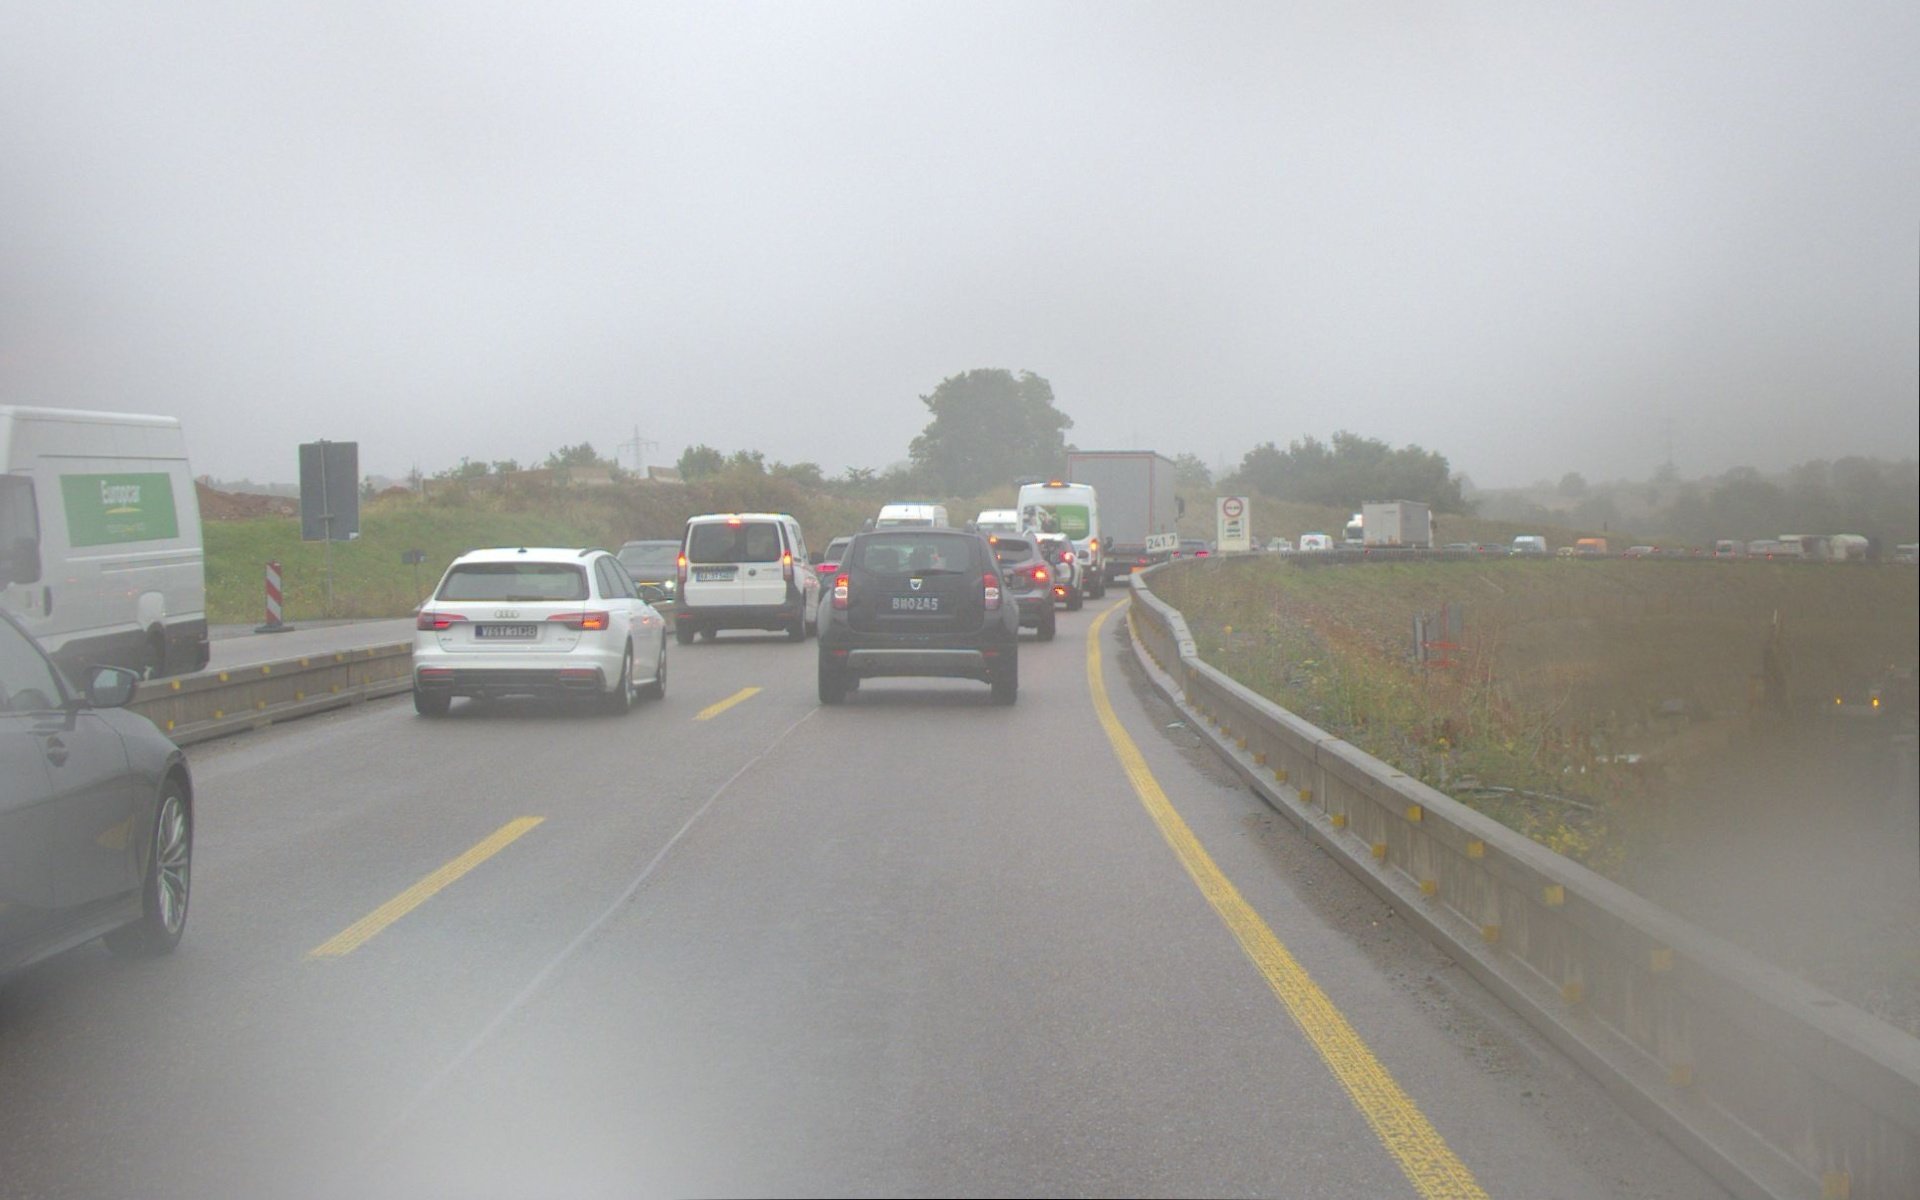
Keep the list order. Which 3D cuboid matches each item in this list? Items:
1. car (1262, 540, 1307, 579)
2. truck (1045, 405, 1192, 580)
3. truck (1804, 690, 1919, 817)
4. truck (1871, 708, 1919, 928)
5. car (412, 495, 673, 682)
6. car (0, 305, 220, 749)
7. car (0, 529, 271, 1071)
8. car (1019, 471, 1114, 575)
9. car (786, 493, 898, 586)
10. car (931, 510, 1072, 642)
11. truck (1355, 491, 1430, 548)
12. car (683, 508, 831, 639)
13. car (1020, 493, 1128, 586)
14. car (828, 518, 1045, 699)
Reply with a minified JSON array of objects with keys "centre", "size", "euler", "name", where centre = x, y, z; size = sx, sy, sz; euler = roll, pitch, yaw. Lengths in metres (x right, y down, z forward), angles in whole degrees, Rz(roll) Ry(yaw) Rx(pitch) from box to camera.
[{"centre":[19.267,-2.376,203.755],"size":[2.036,2.248,4.155],"euler":[1,0,14],"name":"car"},{"centre":[4.936,-3.148,104.947],"size":[3.545,5.060,10.438],"euler":[1,0,8],"name":"truck"},{"centre":[28.121,4.700,107.288],"size":[2.731,3.479,9.061],"euler":[1,0,9],"name":"truck"},{"centre":[17.159,3.681,55.525],"size":[2.699,3.491,8.947],"euler":[1,0,2],"name":"truck"},{"centre":[-3.549,-0.109,29.851],"size":[1.826,1.494,4.000],"euler":[1,0,-1],"name":"car"},{"centre":[-7.570,-0.568,26.923],"size":[1.993,3.035,7.172],"euler":[1,1,0],"name":"car"},{"centre":[-3.636,0.566,11.130],"size":[1.735,1.457,5.630],"euler":[0,3,-1],"name":"car"},{"centre":[2.615,-1.844,83.574],"size":[1.827,2.429,4.156],"euler":[1,0,8],"name":"car"},{"centre":[-2.347,-1.201,69.271],"size":[1.826,1.809,3.999],"euler":[1,0,4],"name":"car"},{"centre":[0.638,-0.349,49.784],"size":[1.826,1.809,4.000],"euler":[1,0,4],"name":"car"},{"centre":[28.524,-5.309,226.331],"size":[3.475,3.702,8.411],"euler":[0,1,17],"name":"truck"},{"centre":[-2.896,-0.384,49.764],"size":[1.826,1.809,4.000],"euler":[1,0,1],"name":"car"},{"centre":[2.323,-1.190,69.355],"size":[1.827,1.809,3.999],"euler":[1,0,7],"name":"car"},{"centre":[-0.162,0.059,32.493],"size":[1.826,1.585,4.000],"euler":[1,0,3],"name":"car"}]
